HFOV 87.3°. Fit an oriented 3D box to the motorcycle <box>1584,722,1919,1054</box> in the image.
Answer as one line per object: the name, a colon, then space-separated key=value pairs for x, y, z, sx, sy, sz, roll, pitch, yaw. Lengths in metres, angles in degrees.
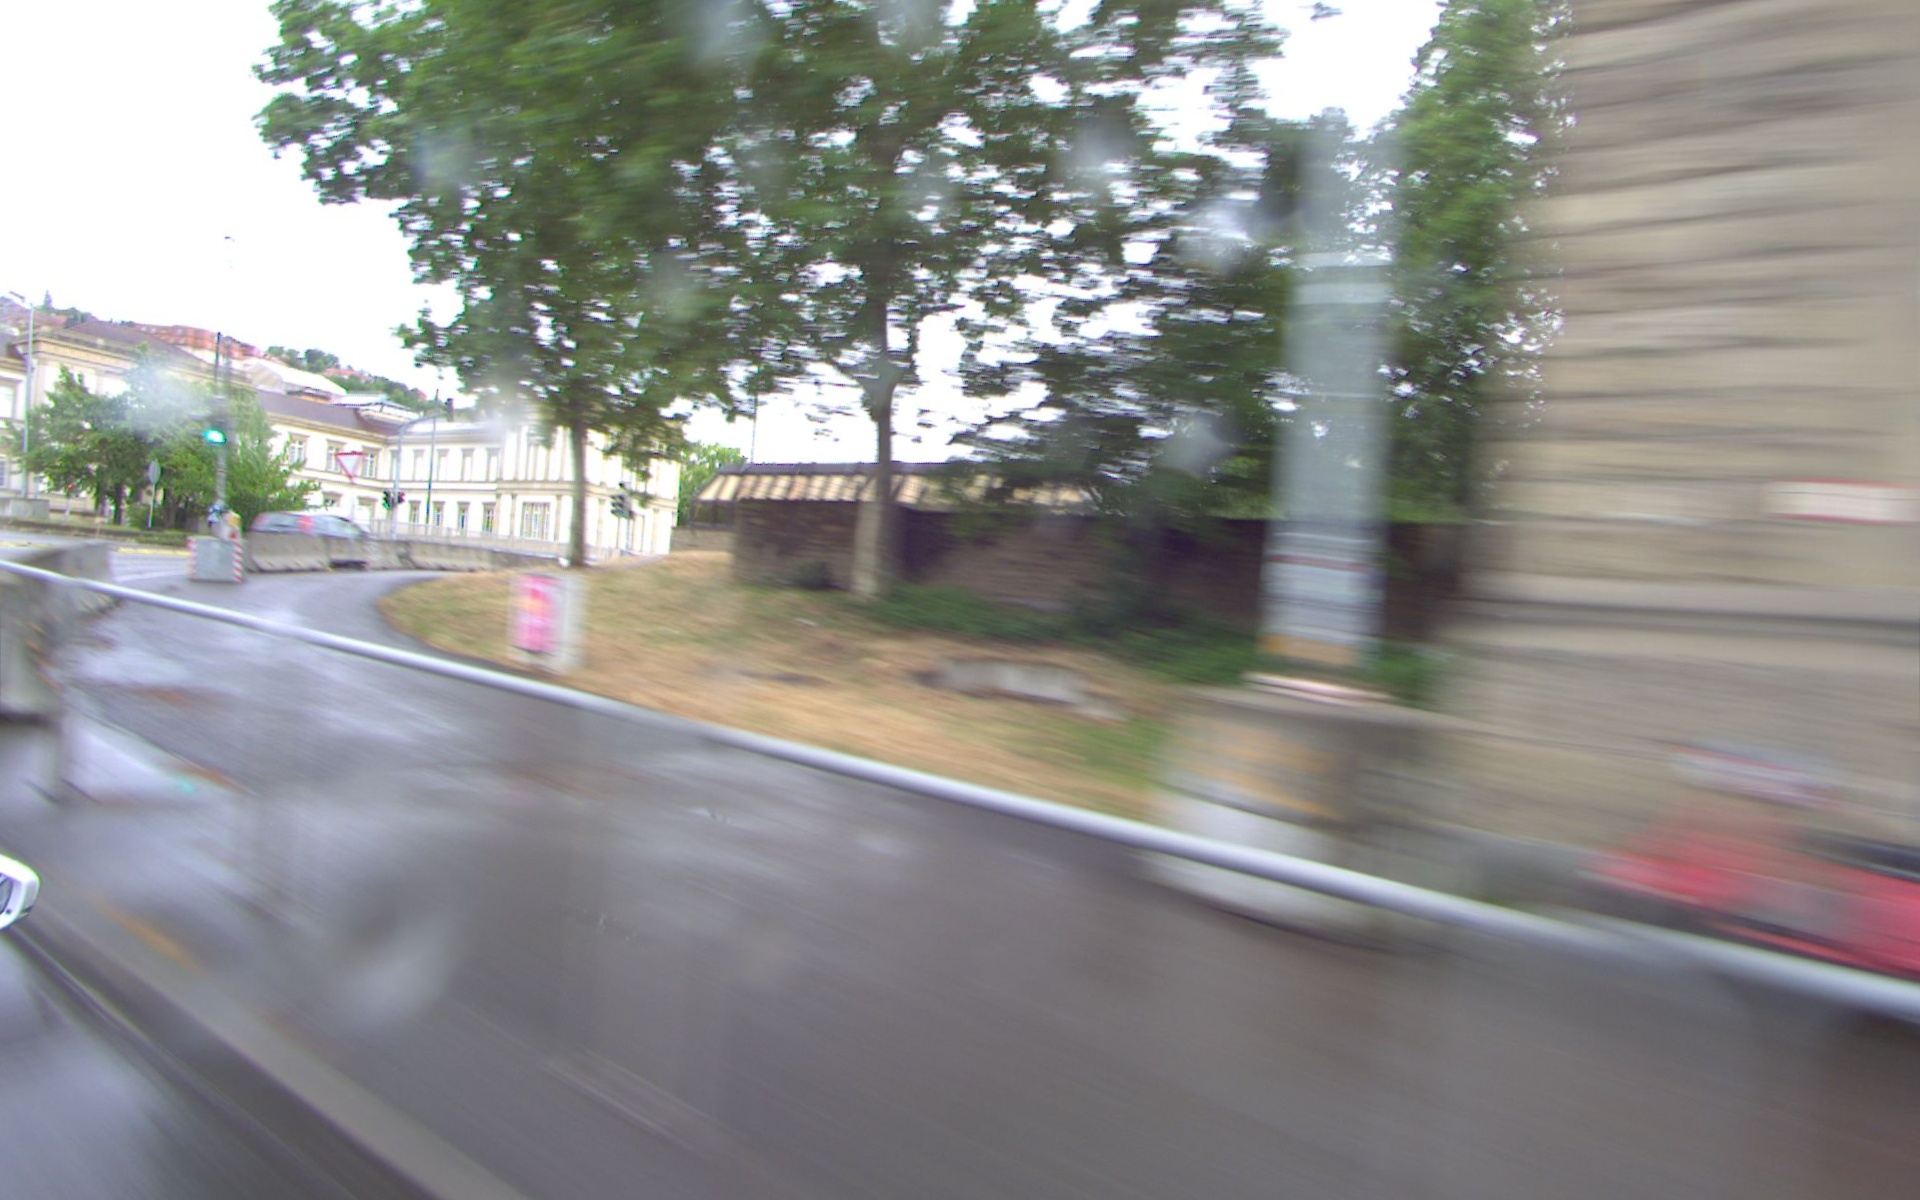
motorcycle: x=3.913 y=1.268 z=4.421 sx=1.867 sy=1.153 sz=0.547 roll=7 pitch=1 yaw=31

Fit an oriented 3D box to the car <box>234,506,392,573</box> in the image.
car: x=-17.679 y=-1.603 z=27.711 sx=1.644 sy=1.445 sz=3.757 roll=7 pitch=1 yaw=4
